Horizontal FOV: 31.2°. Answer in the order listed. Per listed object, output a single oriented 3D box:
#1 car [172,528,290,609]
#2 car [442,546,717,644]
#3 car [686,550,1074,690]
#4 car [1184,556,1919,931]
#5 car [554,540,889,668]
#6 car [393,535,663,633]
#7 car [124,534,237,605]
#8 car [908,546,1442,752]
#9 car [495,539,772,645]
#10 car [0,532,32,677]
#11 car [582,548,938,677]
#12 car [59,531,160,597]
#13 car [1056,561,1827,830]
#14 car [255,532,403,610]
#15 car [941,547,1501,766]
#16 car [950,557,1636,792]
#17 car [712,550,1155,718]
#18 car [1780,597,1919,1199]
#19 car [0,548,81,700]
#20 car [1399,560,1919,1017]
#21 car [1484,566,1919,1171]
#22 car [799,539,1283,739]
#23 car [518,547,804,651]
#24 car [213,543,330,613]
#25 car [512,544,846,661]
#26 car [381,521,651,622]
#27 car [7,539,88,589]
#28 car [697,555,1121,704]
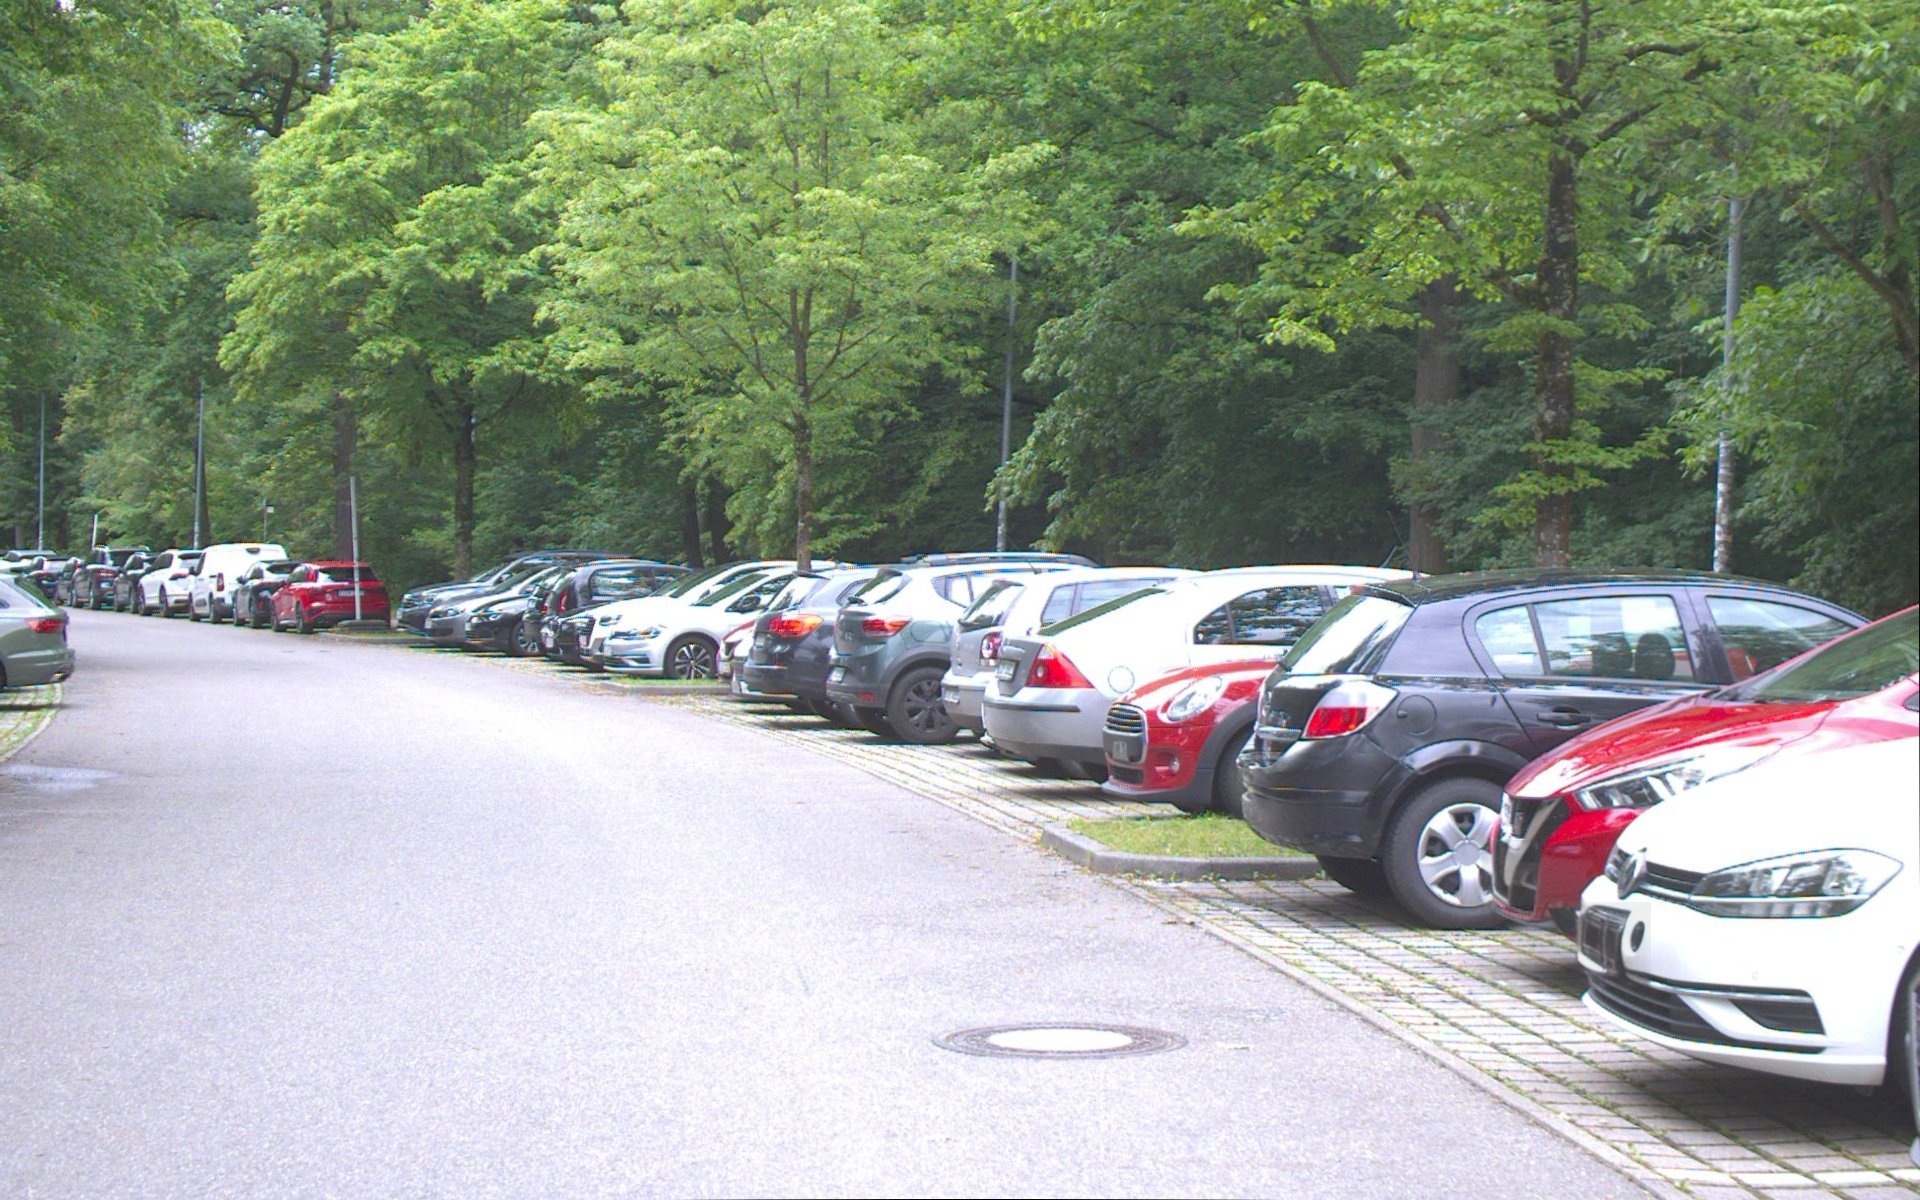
[{"bbox_3d":[-16.662,-0.732,78.461,1.744,1.774,4.553,0,1,-23],"label":"car"},{"bbox_3d":[-6.009,-0.079,54.196,3.986,1.470,1.953,1,1,-18],"label":"car"},{"bbox_3d":[-0.878,0.208,37.510,3.793,1.436,1.871,0,2,-22],"label":"car"},{"bbox_3d":[3.107,0.571,14.827,3.986,1.478,1.922,0,1,-6],"label":"car"},{"bbox_3d":[-3.108,0.037,44.471,4.007,1.553,1.978,1,1,-14],"label":"car"},{"bbox_3d":[-7.108,-0.265,56.528,3.986,1.546,1.976,0,1,-24],"label":"car"},{"bbox_3d":[-19.117,-0.763,84.169,1.785,1.657,4.719,0,1,-24],"label":"car"},{"bbox_3d":[1.659,0.369,27.021,3.841,1.540,1.731,0,1,-13],"label":"car"},{"bbox_3d":[-4.924,-0.143,51.680,3.826,1.526,1.851,-1,1,-18],"label":"car"},{"bbox_3d":[-12.726,0.036,39.060,3.959,1.622,1.999,0,1,-7],"label":"car"},{"bbox_3d":[-2.459,0.151,42.018,3.975,1.478,1.885,1,2,-18],"label":"car"},{"bbox_3d":[-23.505,-1.005,94.892,1.889,1.741,4.949,0,1,-23],"label":"car"},{"bbox_3d":[2.718,0.514,19.879,3.986,1.445,1.941,0,1,-11],"label":"car"},{"bbox_3d":[-12.583,-0.601,68.283,1.993,1.474,4.973,1,1,-21],"label":"car"},{"bbox_3d":[1.843,0.397,24.858,3.701,1.505,1.752,0,0,-10],"label":"car"},{"bbox_3d":[2.119,0.460,22.488,4.125,1.456,1.865,0,0,-9],"label":"car"},{"bbox_3d":[-0.271,0.307,32.075,3.767,1.476,1.774,1,1,-16],"label":"car"},{"bbox_3d":[4.007,0.815,7.262,3.986,1.478,1.877,2,0,-5],"label":"car"},{"bbox_3d":[-11.126,0.226,34.112,4.638,1.473,2.095,0,1,-14],"label":"car"},{"bbox_3d":[3.886,0.627,12.331,4.227,1.475,1.920,1,1,-6],"label":"car"},{"bbox_3d":[4.039,0.689,9.634,4.771,1.471,1.853,1,2,-3],"label":"car"},{"bbox_3d":[0.649,0.316,29.332,3.767,1.584,1.950,1,1,-11],"label":"car"},{"bbox_3d":[-4.321,-0.035,49.523,3.826,1.452,1.809,0,1,-17],"label":"car"},{"bbox_3d":[-14.745,-0.493,73.494,1.725,1.418,4.285,1,1,-21],"label":"car"},{"bbox_3d":[-3.849,0.035,46.896,4.186,1.506,1.894,1,2,-19],"label":"car"},{"bbox_3d":[-7.624,-0.496,58.994,4.264,1.660,1.959,1,1,-19],"label":"car"},{"bbox_3d":[-27.775,-1.096,104.623,1.636,1.472,4.152,0,1,-25],"label":"car"},{"bbox_3d":[-0.540,0.289,34.711,3.931,1.406,1.879,1,1,-14],"label":"car"}]
